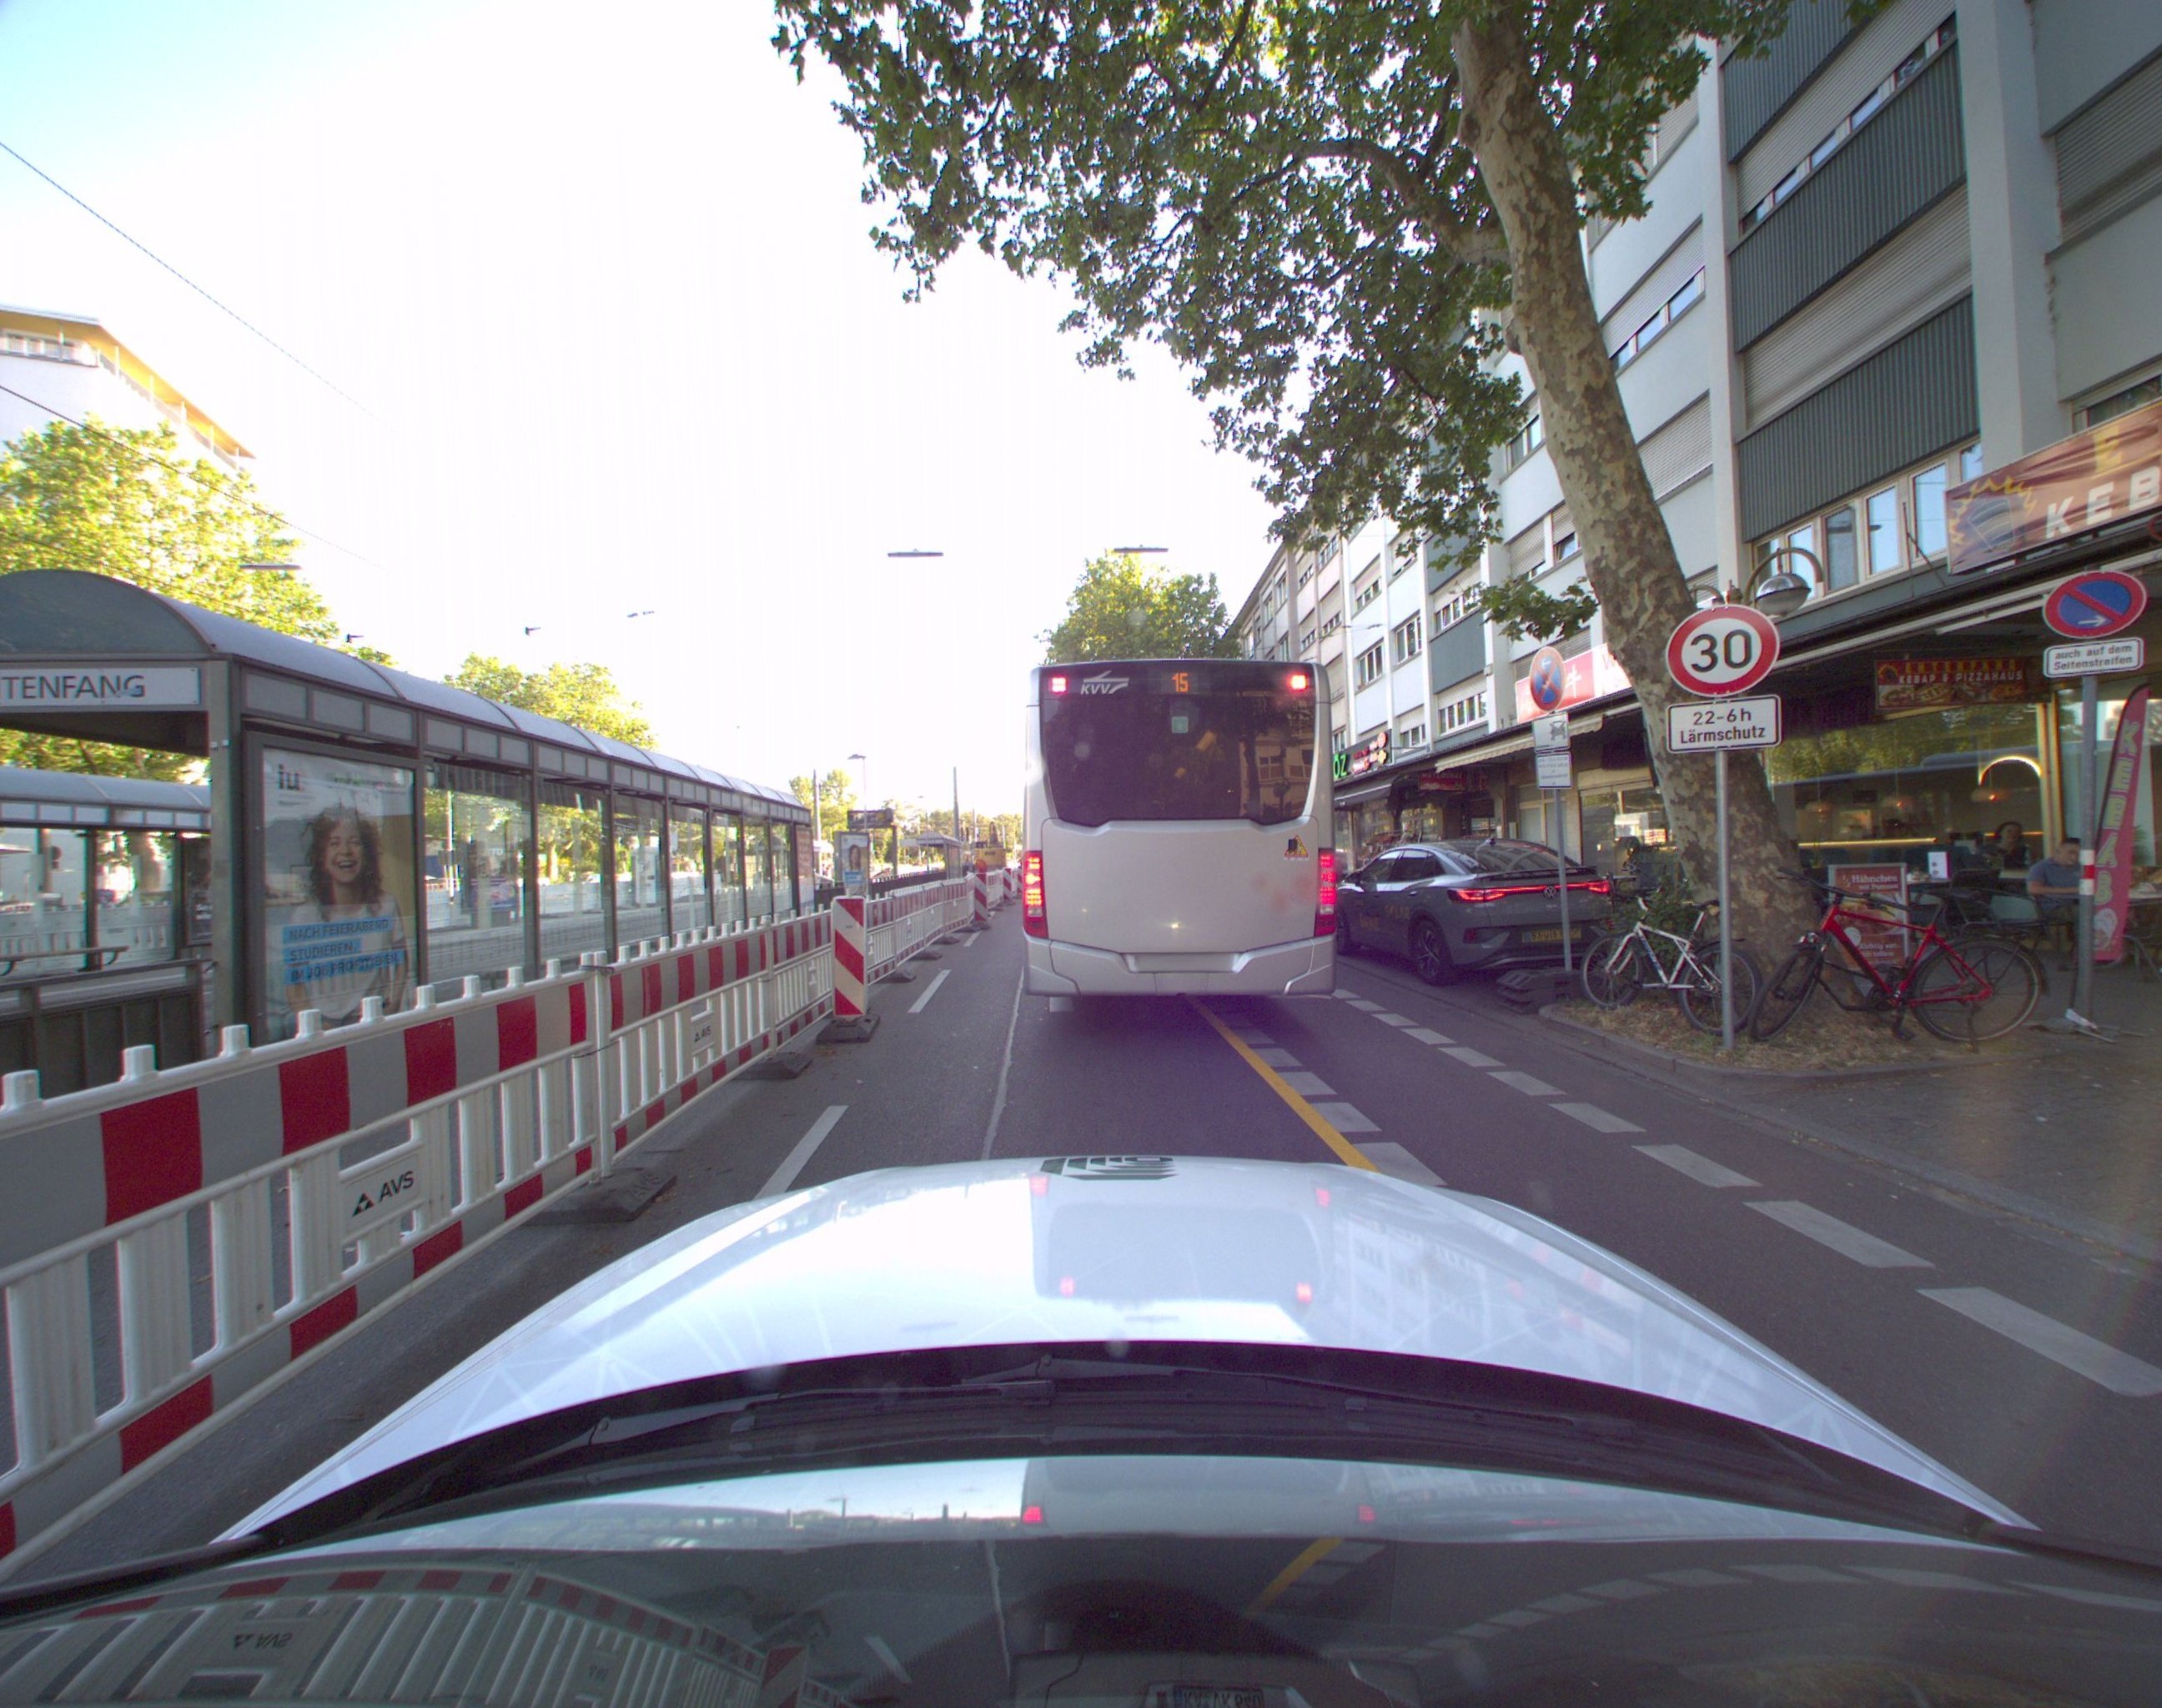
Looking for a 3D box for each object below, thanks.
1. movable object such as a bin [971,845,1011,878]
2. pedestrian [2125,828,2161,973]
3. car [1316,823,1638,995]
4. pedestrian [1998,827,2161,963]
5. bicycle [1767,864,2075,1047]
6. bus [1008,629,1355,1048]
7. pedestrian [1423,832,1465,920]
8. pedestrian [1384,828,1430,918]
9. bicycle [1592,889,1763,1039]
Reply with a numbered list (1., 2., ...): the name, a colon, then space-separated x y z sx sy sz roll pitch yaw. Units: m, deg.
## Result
1. movable object such as a bin: -7.038 0.591 64.020 2.800 2.462 3.995 -2 0 -3
2. pedestrian: 9.569 0.384 6.824 0.612 1.243 0.714 -5 -1 11
3. car: 4.612 0.559 10.326 1.736 1.597 4.294 -4 0 -3
4. pedestrian: 9.631 0.380 7.861 0.673 1.203 0.706 -5 -1 11
5. bicycle: 5.502 0.672 5.383 1.450 1.066 0.297 -6 2 13
6. bus: 0.852 -0.120 11.405 2.599 3.170 10.292 -1 0 1
7. pedestrian: 8.526 0.503 19.172 0.610 2.014 0.696 -2 -1 1
8. pedestrian: 7.550 0.438 18.881 0.689 2.014 0.696 -2 -1 -2
9. bicycle: 4.489 0.785 6.202 0.294 0.927 1.127 -6 2 -8
